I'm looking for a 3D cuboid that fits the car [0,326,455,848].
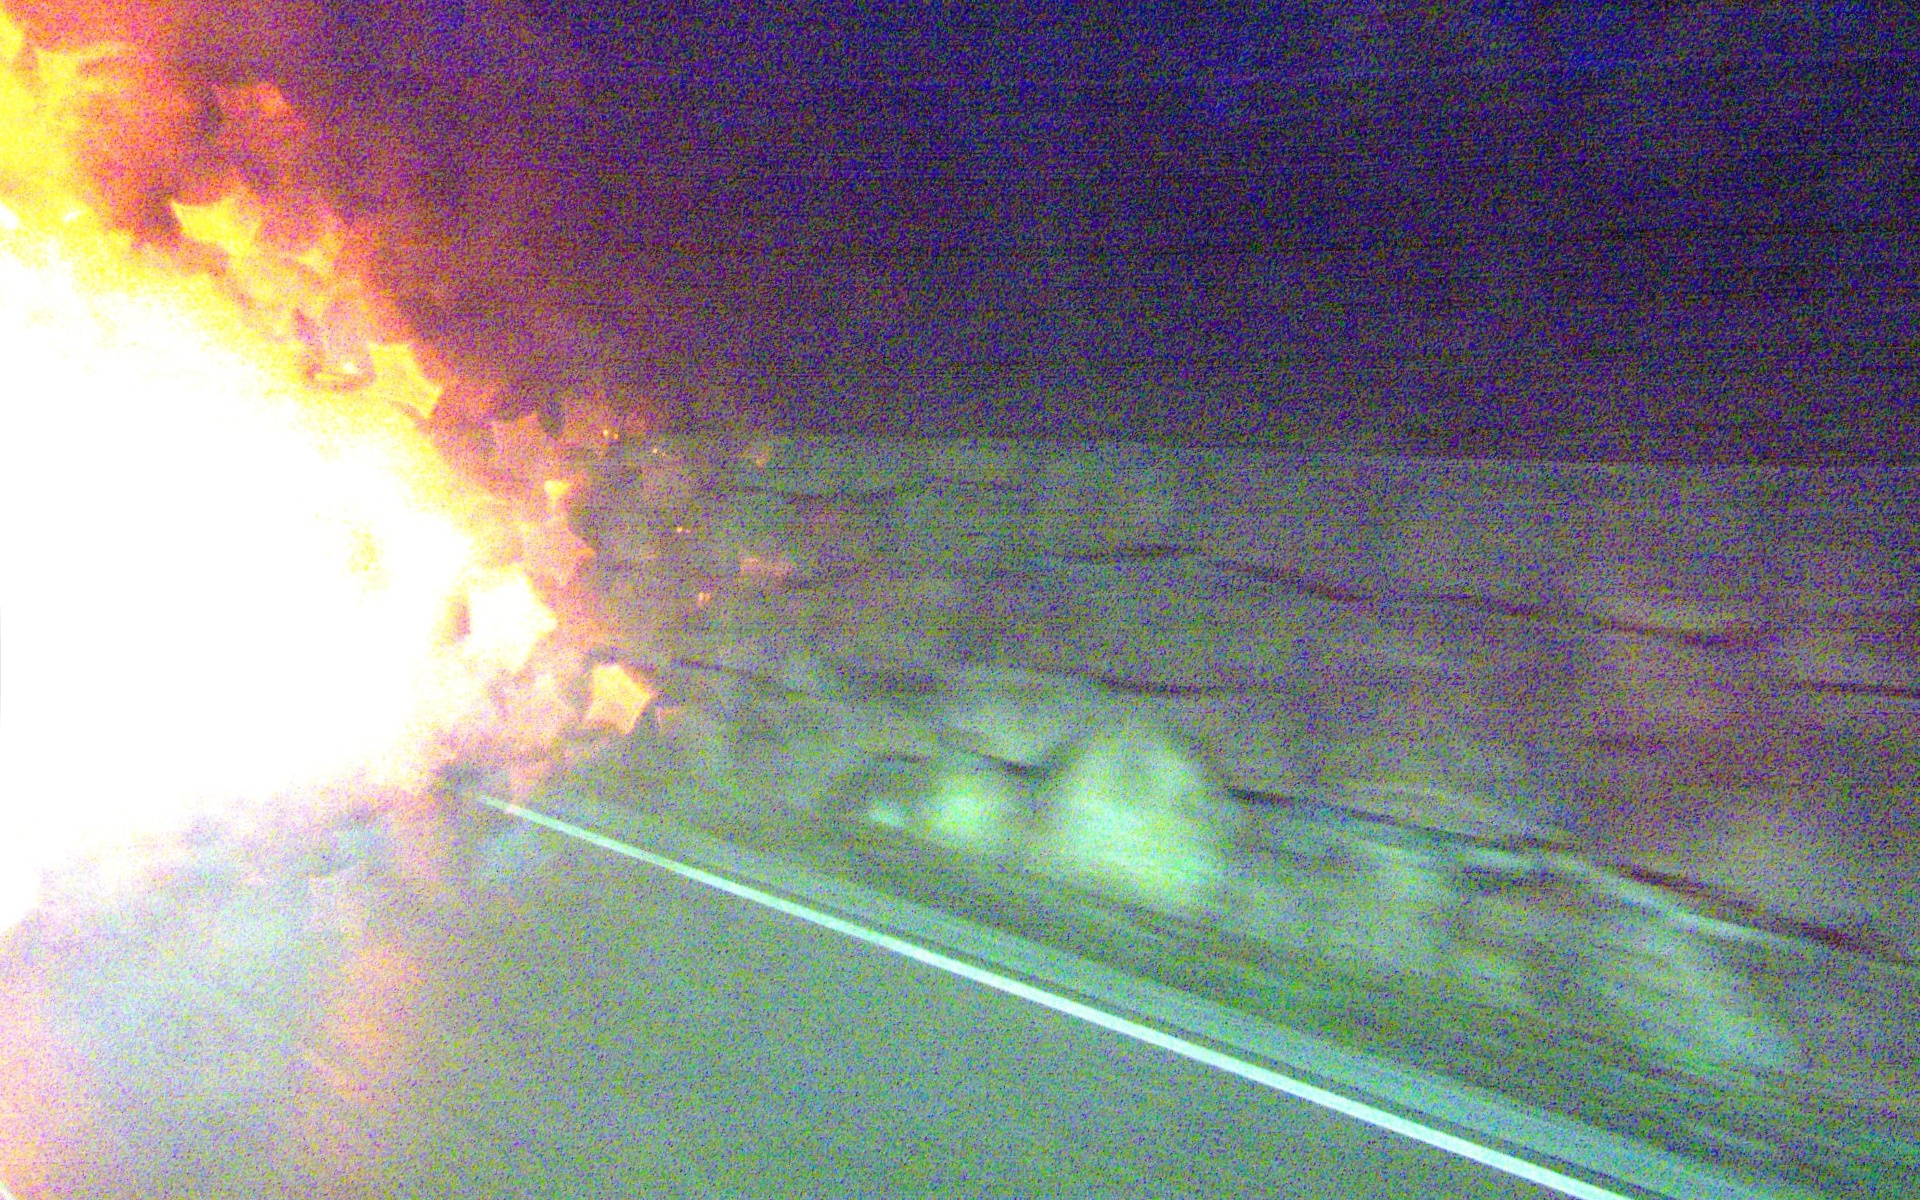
[{"bbox_3d":[-5.196,-0.184,5.834,4.504,2.045,1.794,7,-1,32],"label":"car"}]
